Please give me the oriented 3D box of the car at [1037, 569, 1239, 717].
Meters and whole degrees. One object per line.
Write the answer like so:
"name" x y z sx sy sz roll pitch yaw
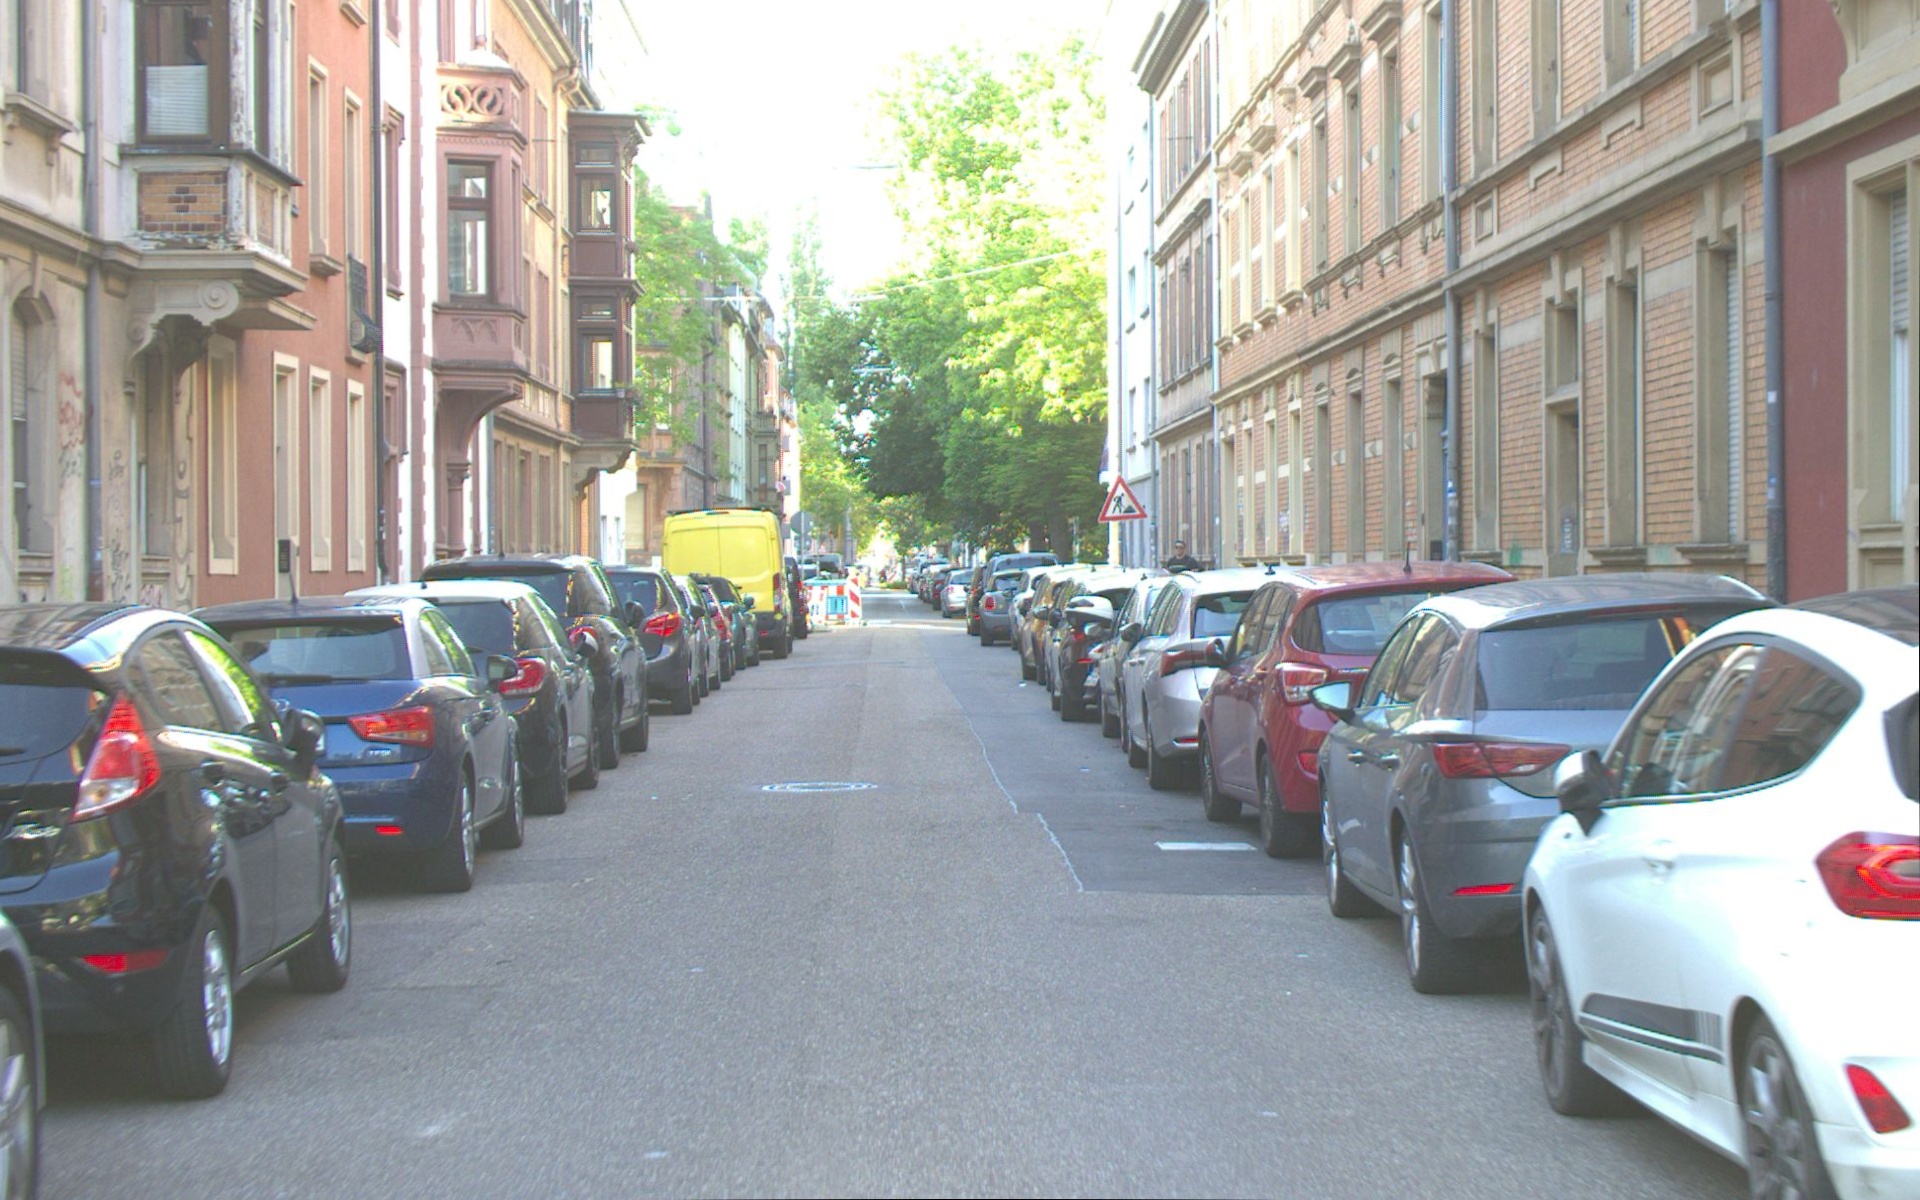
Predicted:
"car" 1.750 0.392 35.055 1.777 1.392 4.317 0 1 -1

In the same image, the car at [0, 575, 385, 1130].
"car" -3.048 0.664 11.103 1.781 1.478 3.743 0 0 -1

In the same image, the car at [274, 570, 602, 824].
"car" -3.306 0.561 22.399 1.642 1.451 3.839 -2 1 -2

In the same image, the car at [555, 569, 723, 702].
"car" -3.868 0.396 41.913 1.694 1.469 3.919 -2 1 -1

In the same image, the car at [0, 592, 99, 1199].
"car" -2.999 0.729 6.307 1.781 1.478 3.932 0 0 1

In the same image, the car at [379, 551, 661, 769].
"car" -3.441 0.429 27.583 1.761 1.612 4.189 0 0 -1

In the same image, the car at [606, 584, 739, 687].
"car" -3.976 0.467 47.924 1.618 1.322 3.613 -3 0 -2

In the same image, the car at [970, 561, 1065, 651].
"car" 1.193 0.090 72.919 1.753 1.780 4.724 -2 1 -1

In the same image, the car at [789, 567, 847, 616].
"car" -6.216 -0.357 151.094 2.309 2.107 5.170 0 0 0

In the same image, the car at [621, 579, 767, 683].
"car" -4.043 0.453 52.734 1.718 1.408 3.897 -4 0 2

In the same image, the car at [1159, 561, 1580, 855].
"car" 2.184 0.524 19.341 1.658 1.474 4.025 0 1 -3

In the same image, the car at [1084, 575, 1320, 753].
"car" 2.002 0.495 29.434 1.691 1.401 3.992 0 1 -1

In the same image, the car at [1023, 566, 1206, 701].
"car" 1.802 0.361 41.239 1.725 1.412 4.094 -4 1 -3

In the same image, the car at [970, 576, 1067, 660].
"car" 1.117 0.331 67.481 1.754 1.448 4.288 -4 1 0

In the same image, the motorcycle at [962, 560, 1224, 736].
"motorcycle" 1.238 0.446 31.899 2.218 1.531 0.890 2 0 -27

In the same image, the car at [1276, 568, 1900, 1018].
"car" 2.311 0.633 13.654 1.676 1.498 4.069 0 1 -1

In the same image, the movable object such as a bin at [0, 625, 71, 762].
"movable object such as a bin" -6.497 0.632 23.592 0.612 0.917 0.734 0 0 -1

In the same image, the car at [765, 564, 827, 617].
"car" -5.382 -0.297 113.270 1.882 1.701 4.000 -1 0 -1

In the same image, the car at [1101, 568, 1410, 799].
"car" 1.995 0.519 24.368 1.762 1.479 4.401 0 1 -1

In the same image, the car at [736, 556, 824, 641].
"car" -3.907 -0.037 74.120 1.818 1.760 4.336 0 0 -4

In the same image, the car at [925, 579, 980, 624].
"car" -0.299 0.056 128.293 1.894 1.620 4.000 0 0 -2

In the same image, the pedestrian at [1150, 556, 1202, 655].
"pedestrian" 3.593 0.090 57.187 0.654 1.625 0.880 -2 0 15

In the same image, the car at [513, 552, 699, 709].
"car" -3.800 0.302 37.469 1.781 1.600 4.070 0 0 -3

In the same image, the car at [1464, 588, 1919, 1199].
"car" 2.439 0.714 8.486 1.705 1.457 3.970 0 0 -1

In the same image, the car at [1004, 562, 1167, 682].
"car" 1.629 0.278 45.983 1.753 1.441 4.069 -3 0 -3

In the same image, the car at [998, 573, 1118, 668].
"car" 1.715 0.331 61.599 1.753 1.513 4.444 -4 1 -2

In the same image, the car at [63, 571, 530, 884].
"car" -3.215 0.561 17.325 1.781 1.398 3.743 0 0 -3

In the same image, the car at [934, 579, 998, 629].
"car" 0.173 0.096 107.012 1.723 1.517 4.001 0 0 -4

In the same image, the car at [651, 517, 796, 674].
"car" -4.019 -0.087 59.407 2.175 2.499 5.878 -2 0 -2
